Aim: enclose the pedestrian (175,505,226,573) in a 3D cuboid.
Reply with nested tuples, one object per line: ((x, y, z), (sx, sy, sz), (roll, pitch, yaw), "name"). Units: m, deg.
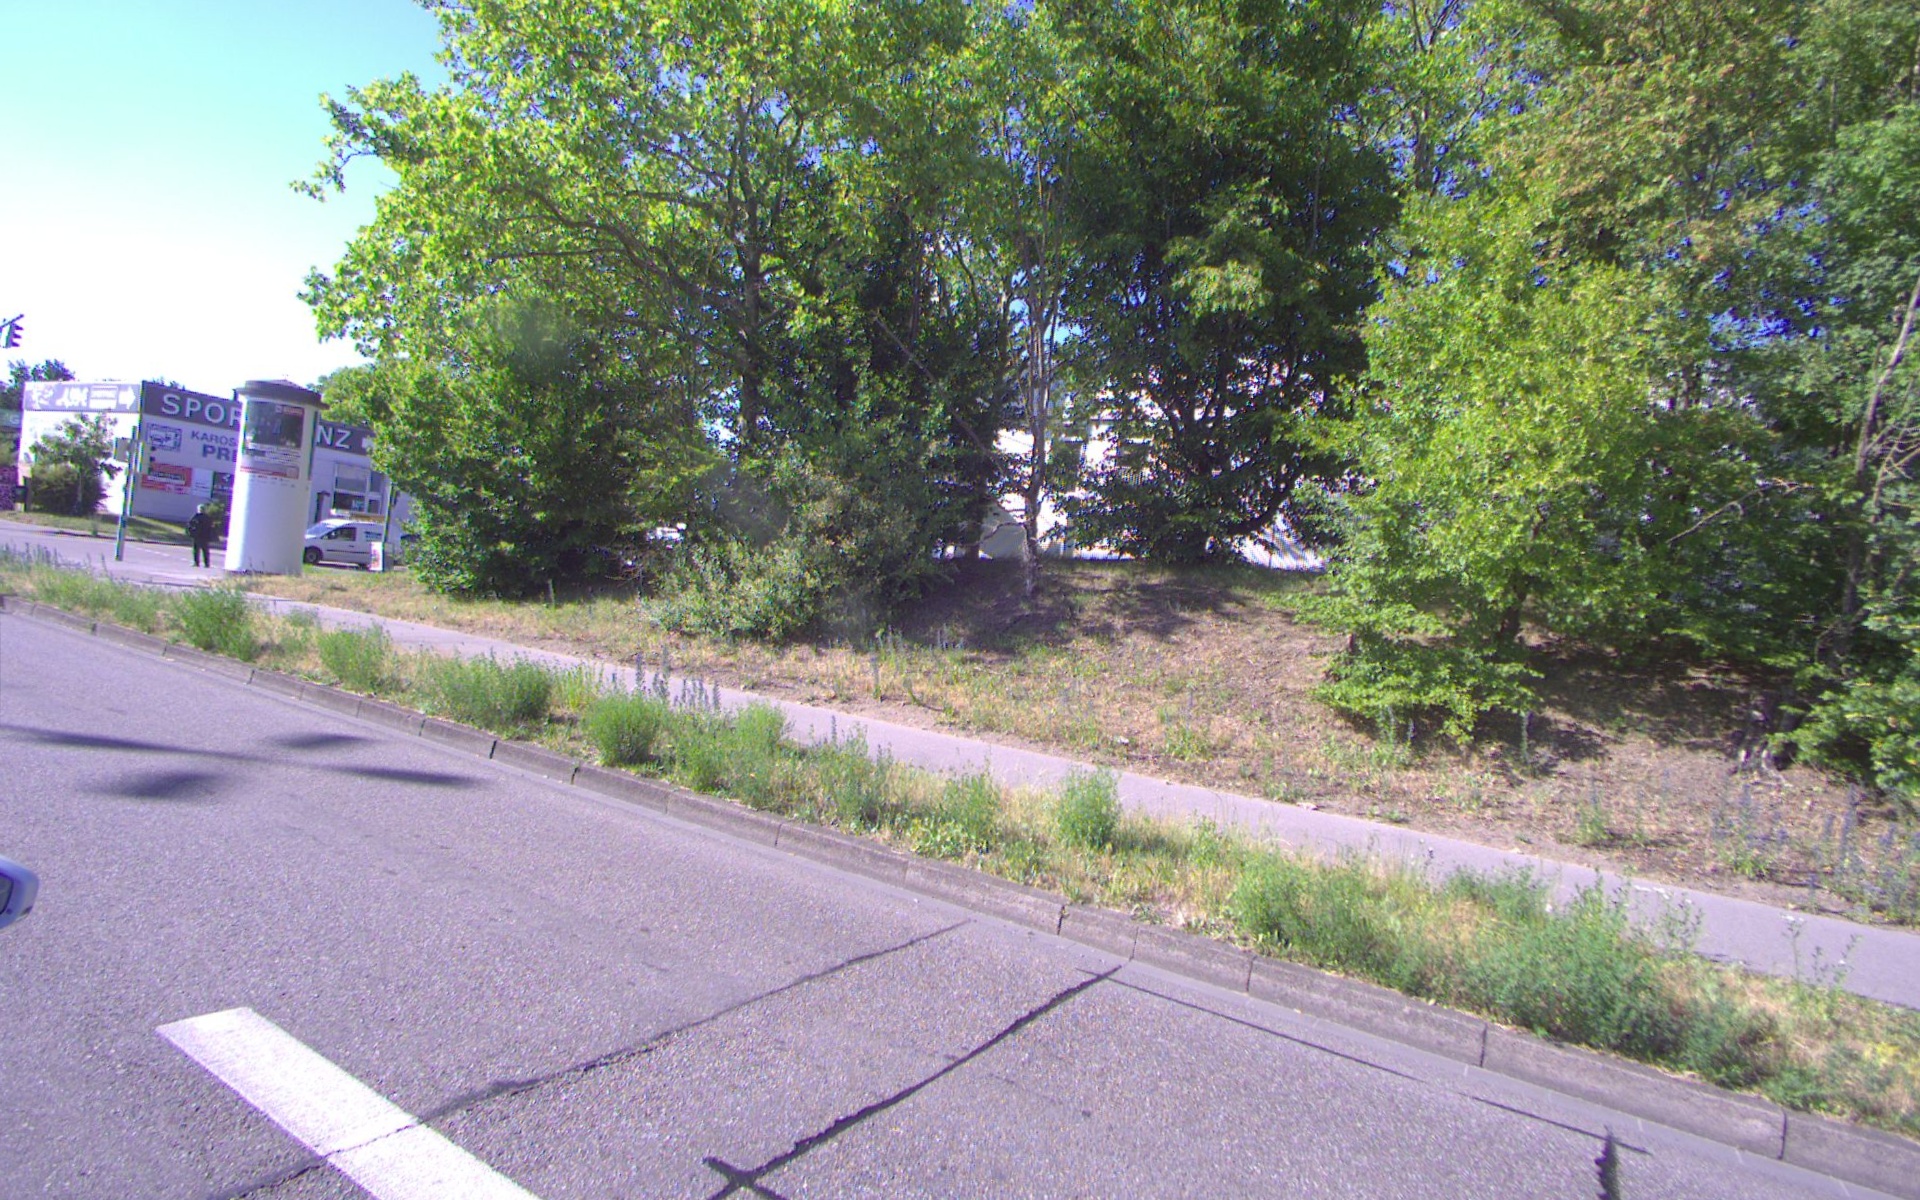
((-21.156, -1.710, 28.020), (0.841, 1.743, 0.822), (7, 0, 39), "pedestrian")

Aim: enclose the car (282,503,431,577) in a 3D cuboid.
((-23.389, -2.280, 39.174), (1.965, 2.171, 4.415), (7, -1, 28), "car")

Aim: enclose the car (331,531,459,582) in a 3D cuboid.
((-24.499, -1.857, 43.781), (1.965, 1.571, 4.415), (7, -1, 28), "car")

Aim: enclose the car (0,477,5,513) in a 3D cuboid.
((-48.289, -5.337, 47.686), (1.663, 1.726, 4.003), (7, -1, 16), "car")
